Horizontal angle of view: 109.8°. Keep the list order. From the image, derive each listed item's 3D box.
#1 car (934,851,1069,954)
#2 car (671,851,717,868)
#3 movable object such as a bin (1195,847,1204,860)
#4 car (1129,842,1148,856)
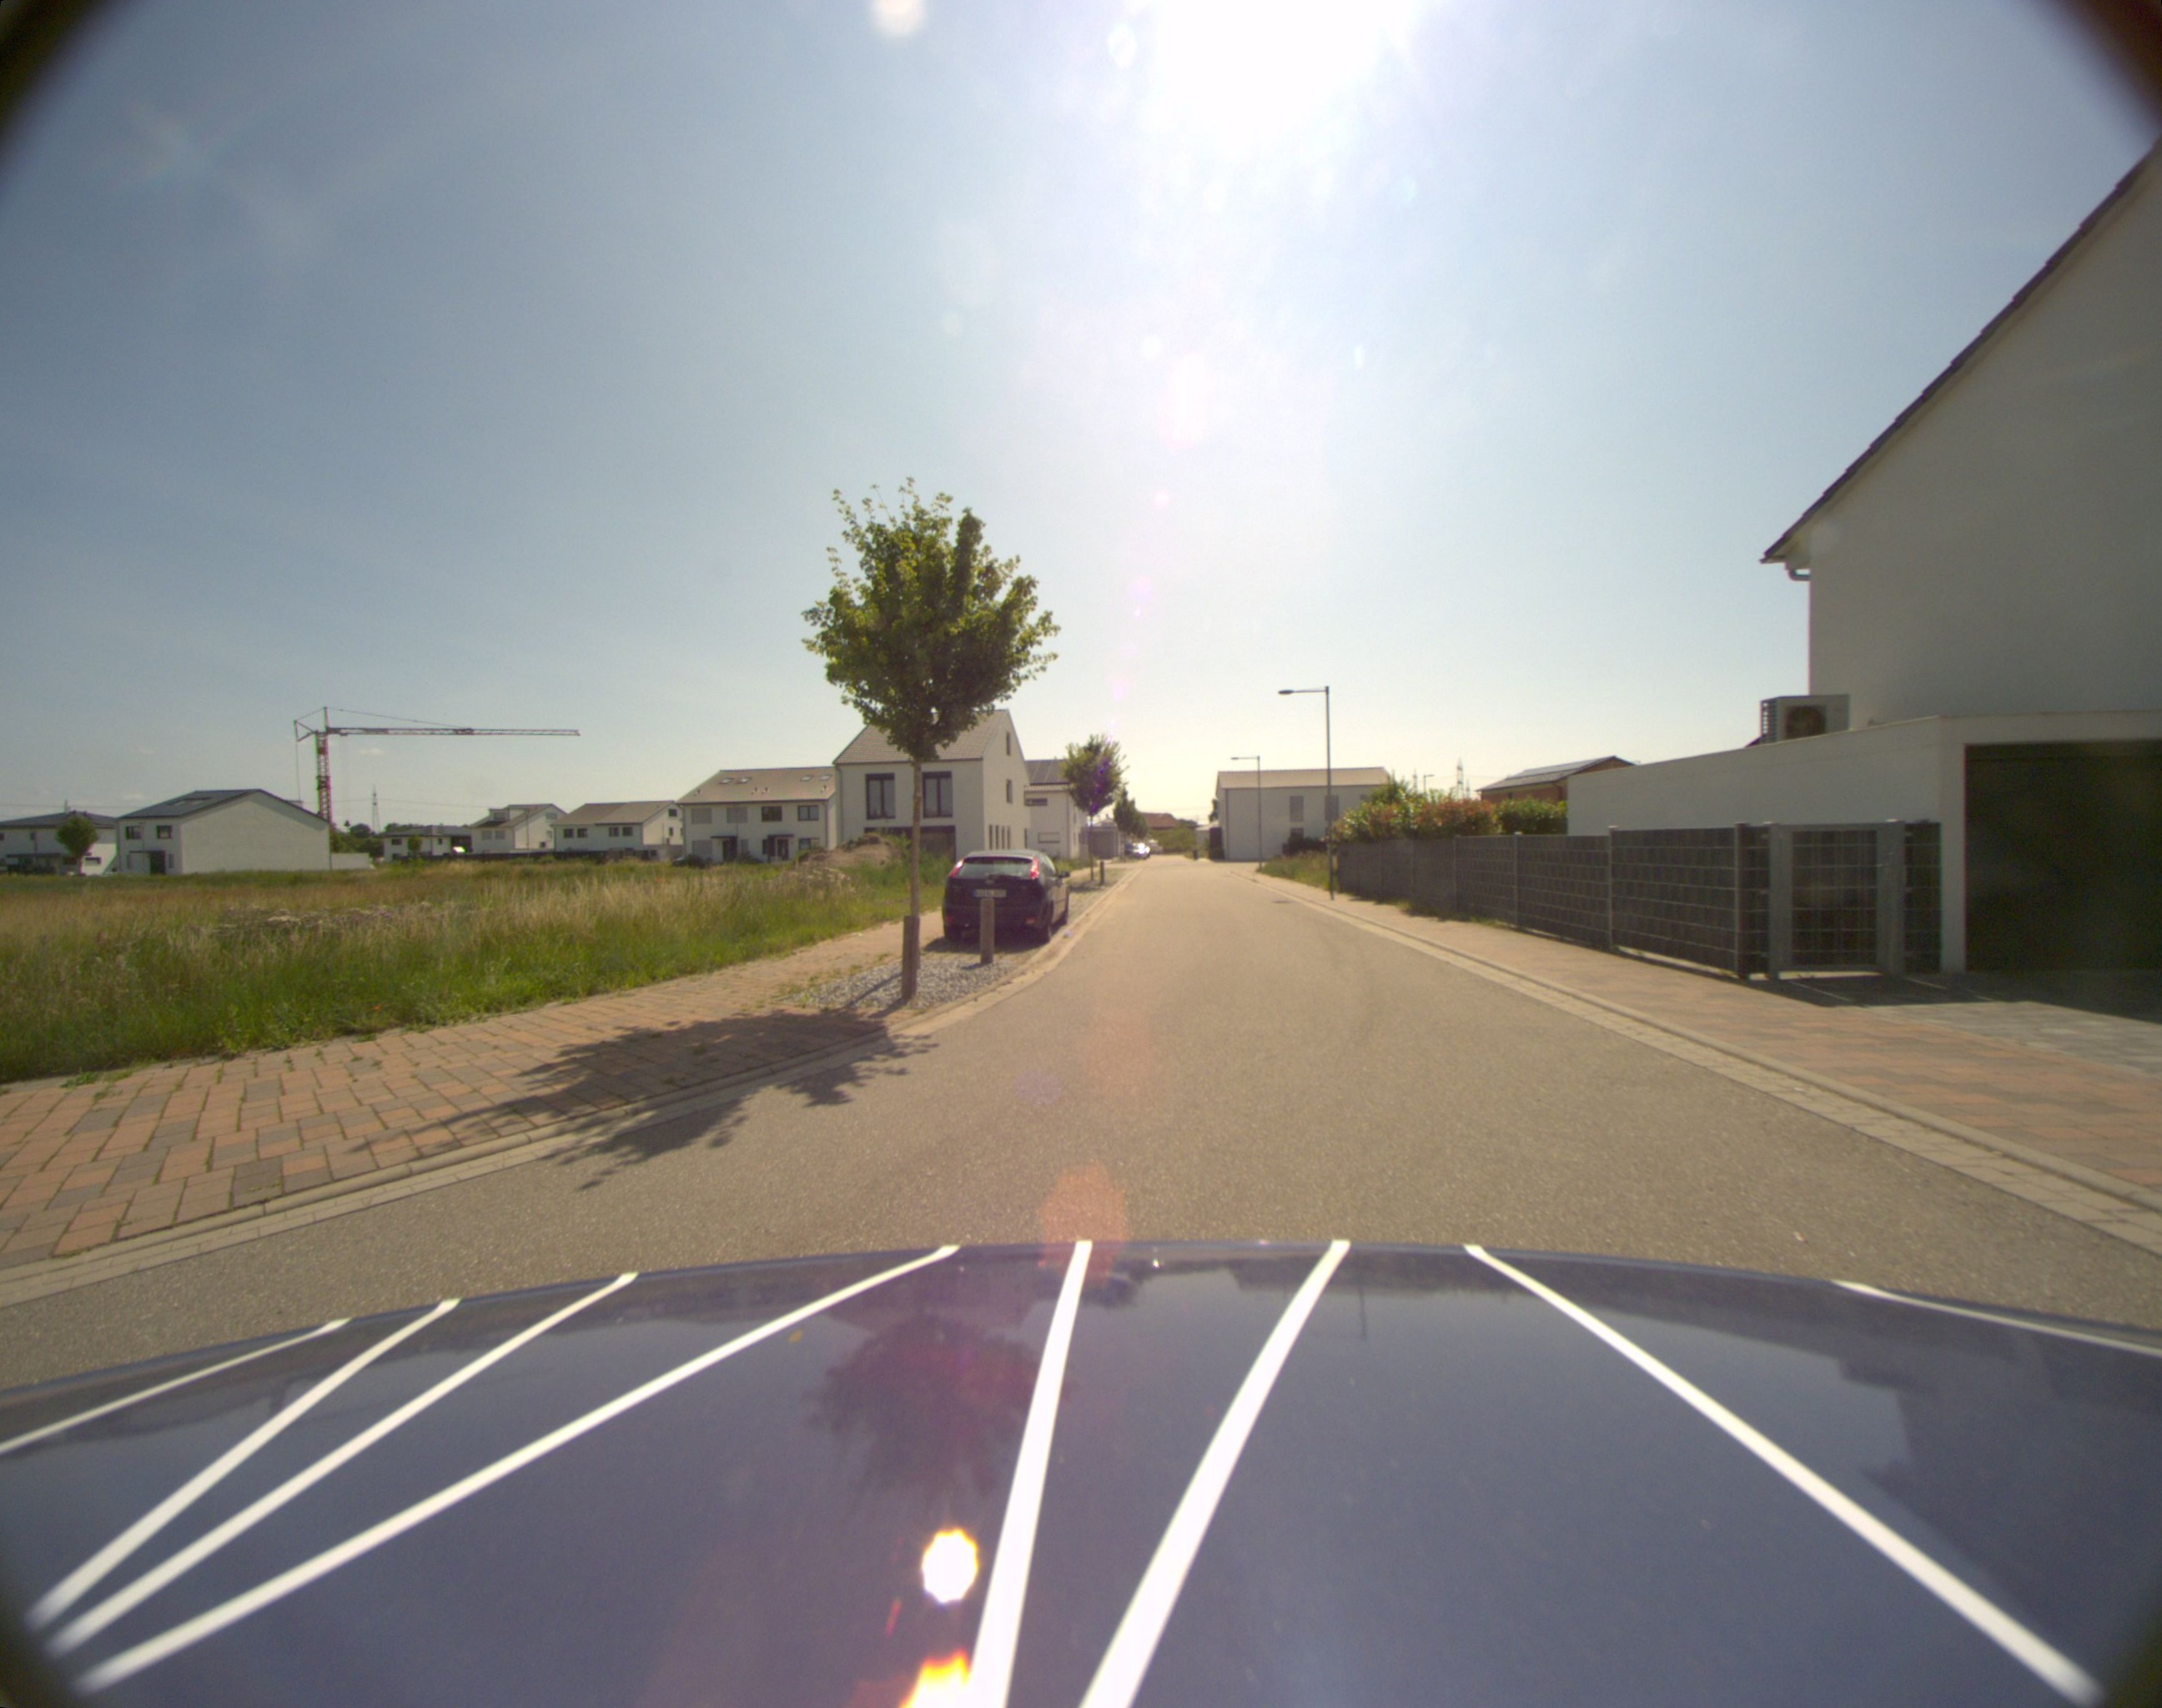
[{"bbox_3d":[-1.245,0.734,13.646,1.848,1.485,4.194,-2,0,1],"label":"car"},{"bbox_3d":[-36.900,0.499,72.517,1.812,1.565,4.003,-1,1,11],"label":"car"},{"bbox_3d":[10.409,-0.027,66.750,0.806,1.092,0.672,-1,1,9],"label":"movable object such as a bin"},{"bbox_3d":[6.404,-0.590,84.050,1.923,1.412,4.422,-1,1,7],"label":"car"}]
